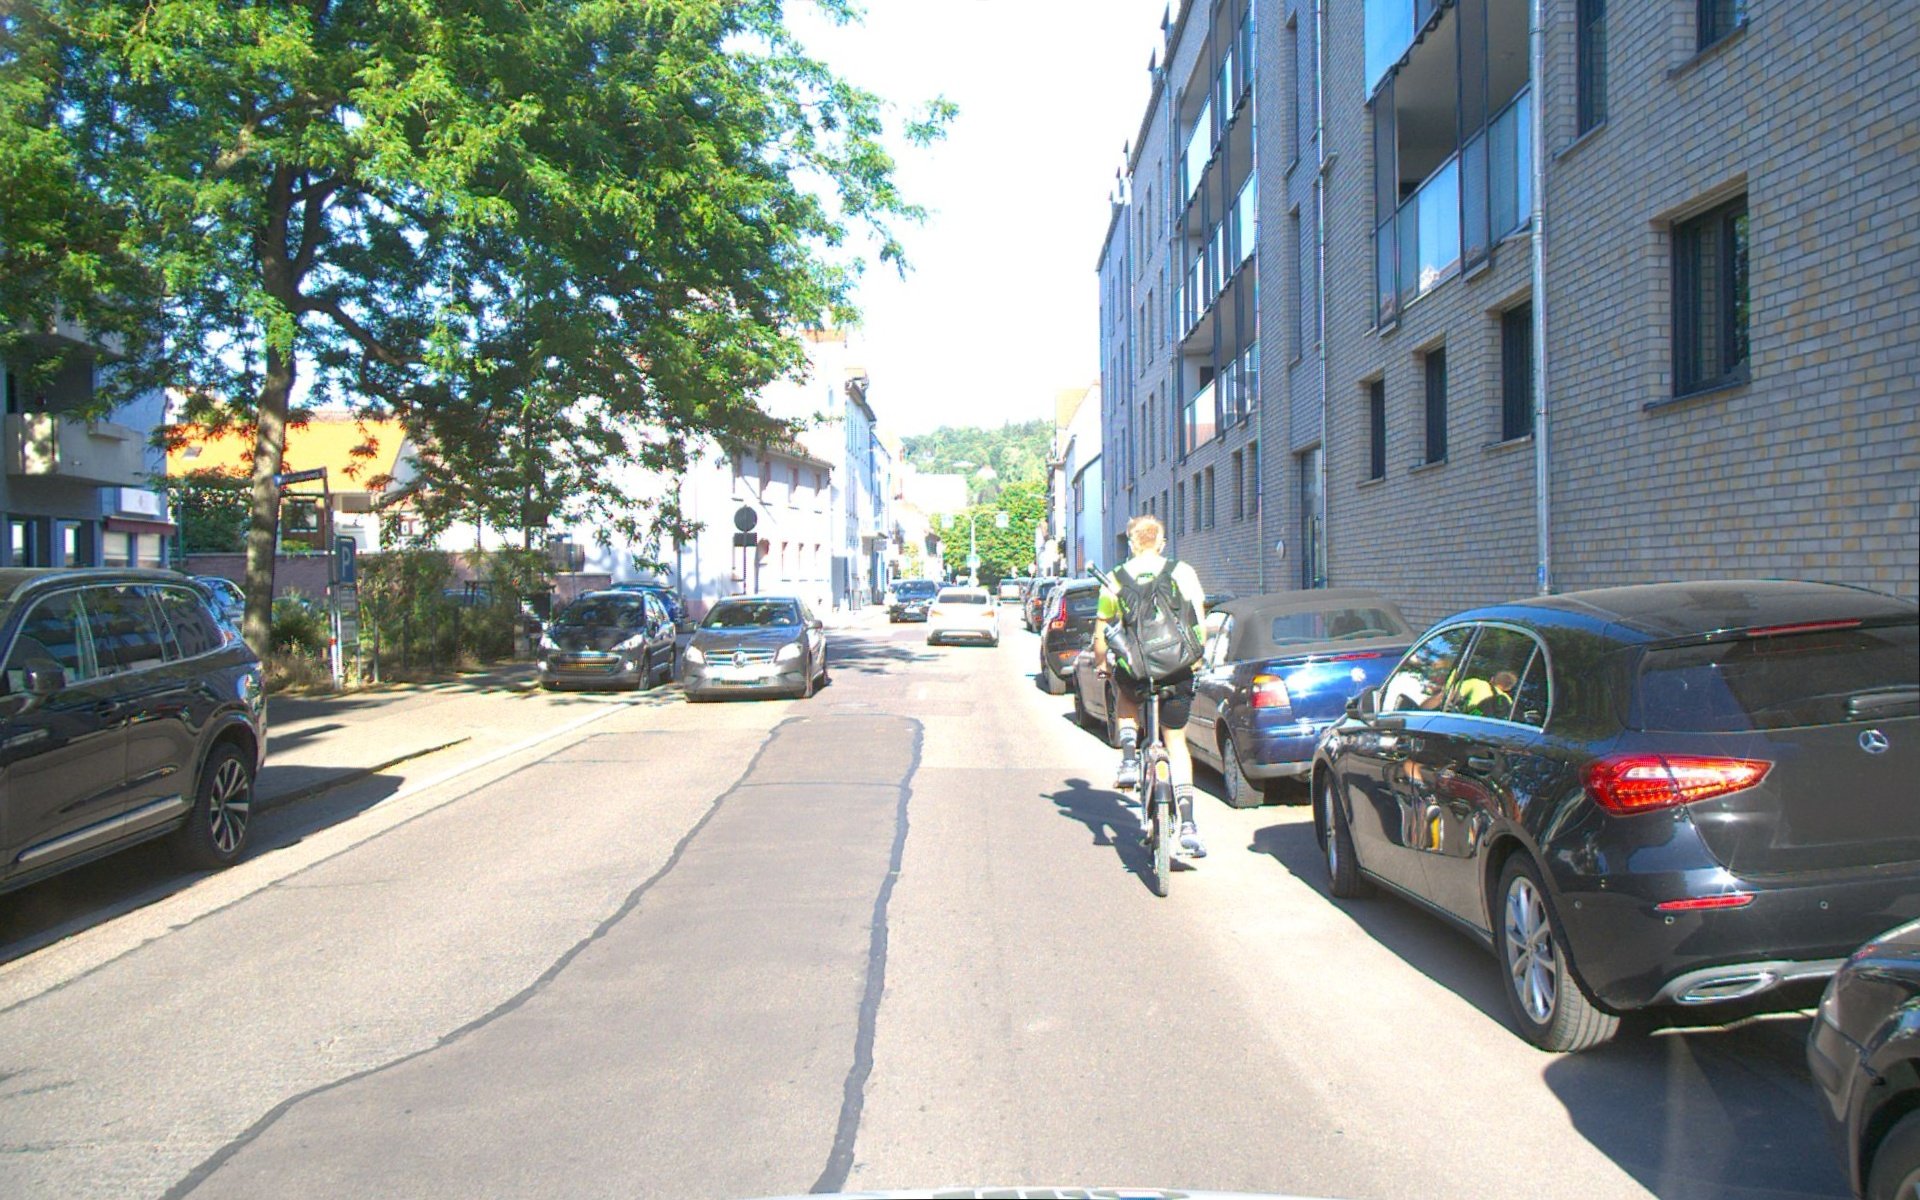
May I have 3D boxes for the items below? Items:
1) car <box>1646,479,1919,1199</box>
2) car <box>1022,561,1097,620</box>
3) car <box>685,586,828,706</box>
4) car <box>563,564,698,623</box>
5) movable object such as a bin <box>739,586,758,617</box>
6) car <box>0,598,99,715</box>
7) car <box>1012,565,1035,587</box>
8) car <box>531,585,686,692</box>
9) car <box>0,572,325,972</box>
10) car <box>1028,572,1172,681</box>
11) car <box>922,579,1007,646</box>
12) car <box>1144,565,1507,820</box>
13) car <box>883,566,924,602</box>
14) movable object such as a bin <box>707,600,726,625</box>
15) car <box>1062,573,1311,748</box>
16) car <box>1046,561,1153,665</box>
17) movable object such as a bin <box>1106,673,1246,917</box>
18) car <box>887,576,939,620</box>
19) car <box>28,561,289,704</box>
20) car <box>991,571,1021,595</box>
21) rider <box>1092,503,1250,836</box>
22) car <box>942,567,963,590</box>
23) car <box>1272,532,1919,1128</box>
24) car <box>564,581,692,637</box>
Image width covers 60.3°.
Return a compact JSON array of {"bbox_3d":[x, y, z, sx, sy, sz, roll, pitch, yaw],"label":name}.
[{"bbox_3d":[2.615,0.652,1.670,1.634,1.764,4.837,-2,1,-2],"label":"car"},{"bbox_3d":[3.106,-0.340,52.518,1.953,1.681,4.762,-2,2,-1],"label":"car"},{"bbox_3d":[-2.870,0.594,24.052,1.771,1.492,3.997,-2,1,-3],"label":"car"},{"bbox_3d":[-11.510,-0.252,58.001,4.272,1.825,1.989,2,4,2],"label":"car"},{"bbox_3d":[-7.864,0.044,61.556,0.586,1.113,0.751,-1,1,1],"label":"movable object such as a bin"},{"bbox_3d":[-14.600,0.826,24.274,2.033,1.603,3.807,-2,1,-3],"label":"car"},{"bbox_3d":[5.868,-2.226,153.220,1.969,1.885,4.001,-1,2,0],"label":"car"},{"bbox_3d":[-5.603,0.555,26.801,1.662,1.517,4.000,-2,1,-1],"label":"car"},{"bbox_3d":[-5.164,0.729,8.512,1.892,1.734,5.100,1,1,-1],"label":"car"},{"bbox_3d":[2.090,0.342,25.843,1.779,1.492,4.269,-2,1,-1],"label":"car"},{"bbox_3d":[0.079,0.275,41.360,1.953,1.492,4.000,-2,1,-1],"label":"car"},{"bbox_3d":[2.616,0.567,12.844,1.631,1.542,4.217,-4,1,-3],"label":"car"},{"bbox_3d":[-2.803,-0.824,82.814,1.953,1.676,5.221,-1,1,-2],"label":"car"},{"bbox_3d":[-8.903,0.445,60.508,0.586,0.887,0.606,-2,1,-1],"label":"movable object such as a bin"},{"bbox_3d":[2.223,0.516,17.474,1.663,1.493,4.717,-3,1,-3],"label":"car"},{"bbox_3d":[2.678,0.186,31.828,1.850,1.741,4.777,-2,2,5],"label":"car"},{"bbox_3d":[1.081,0.942,8.582,0.445,1.051,1.840,1,0,-1],"label":"movable object such as a bin"},{"bbox_3d":[-1.838,-0.110,64.376,1.900,1.603,4.318,-2,1,-2],"label":"car"},{"bbox_3d":[-12.168,0.400,25.513,1.806,1.928,4.903,-2,1,-3],"label":"car"},{"bbox_3d":[3.101,-1.167,111.784,1.952,1.492,4.001,-2,1,1],"label":"car"},{"bbox_3d":[1.061,0.337,8.509,0.640,1.589,1.083,1,0,-1],"label":"rider"},{"bbox_3d":[-0.690,-2.093,159.676,1.953,2.048,4.000,-2,1,0],"label":"car"},{"bbox_3d":[2.689,0.594,6.984,1.691,1.555,4.625,-5,1,-1],"label":"car"},{"bbox_3d":[-10.852,0.282,54.293,3.690,1.556,2.001,-3,2,1],"label":"car"}]
